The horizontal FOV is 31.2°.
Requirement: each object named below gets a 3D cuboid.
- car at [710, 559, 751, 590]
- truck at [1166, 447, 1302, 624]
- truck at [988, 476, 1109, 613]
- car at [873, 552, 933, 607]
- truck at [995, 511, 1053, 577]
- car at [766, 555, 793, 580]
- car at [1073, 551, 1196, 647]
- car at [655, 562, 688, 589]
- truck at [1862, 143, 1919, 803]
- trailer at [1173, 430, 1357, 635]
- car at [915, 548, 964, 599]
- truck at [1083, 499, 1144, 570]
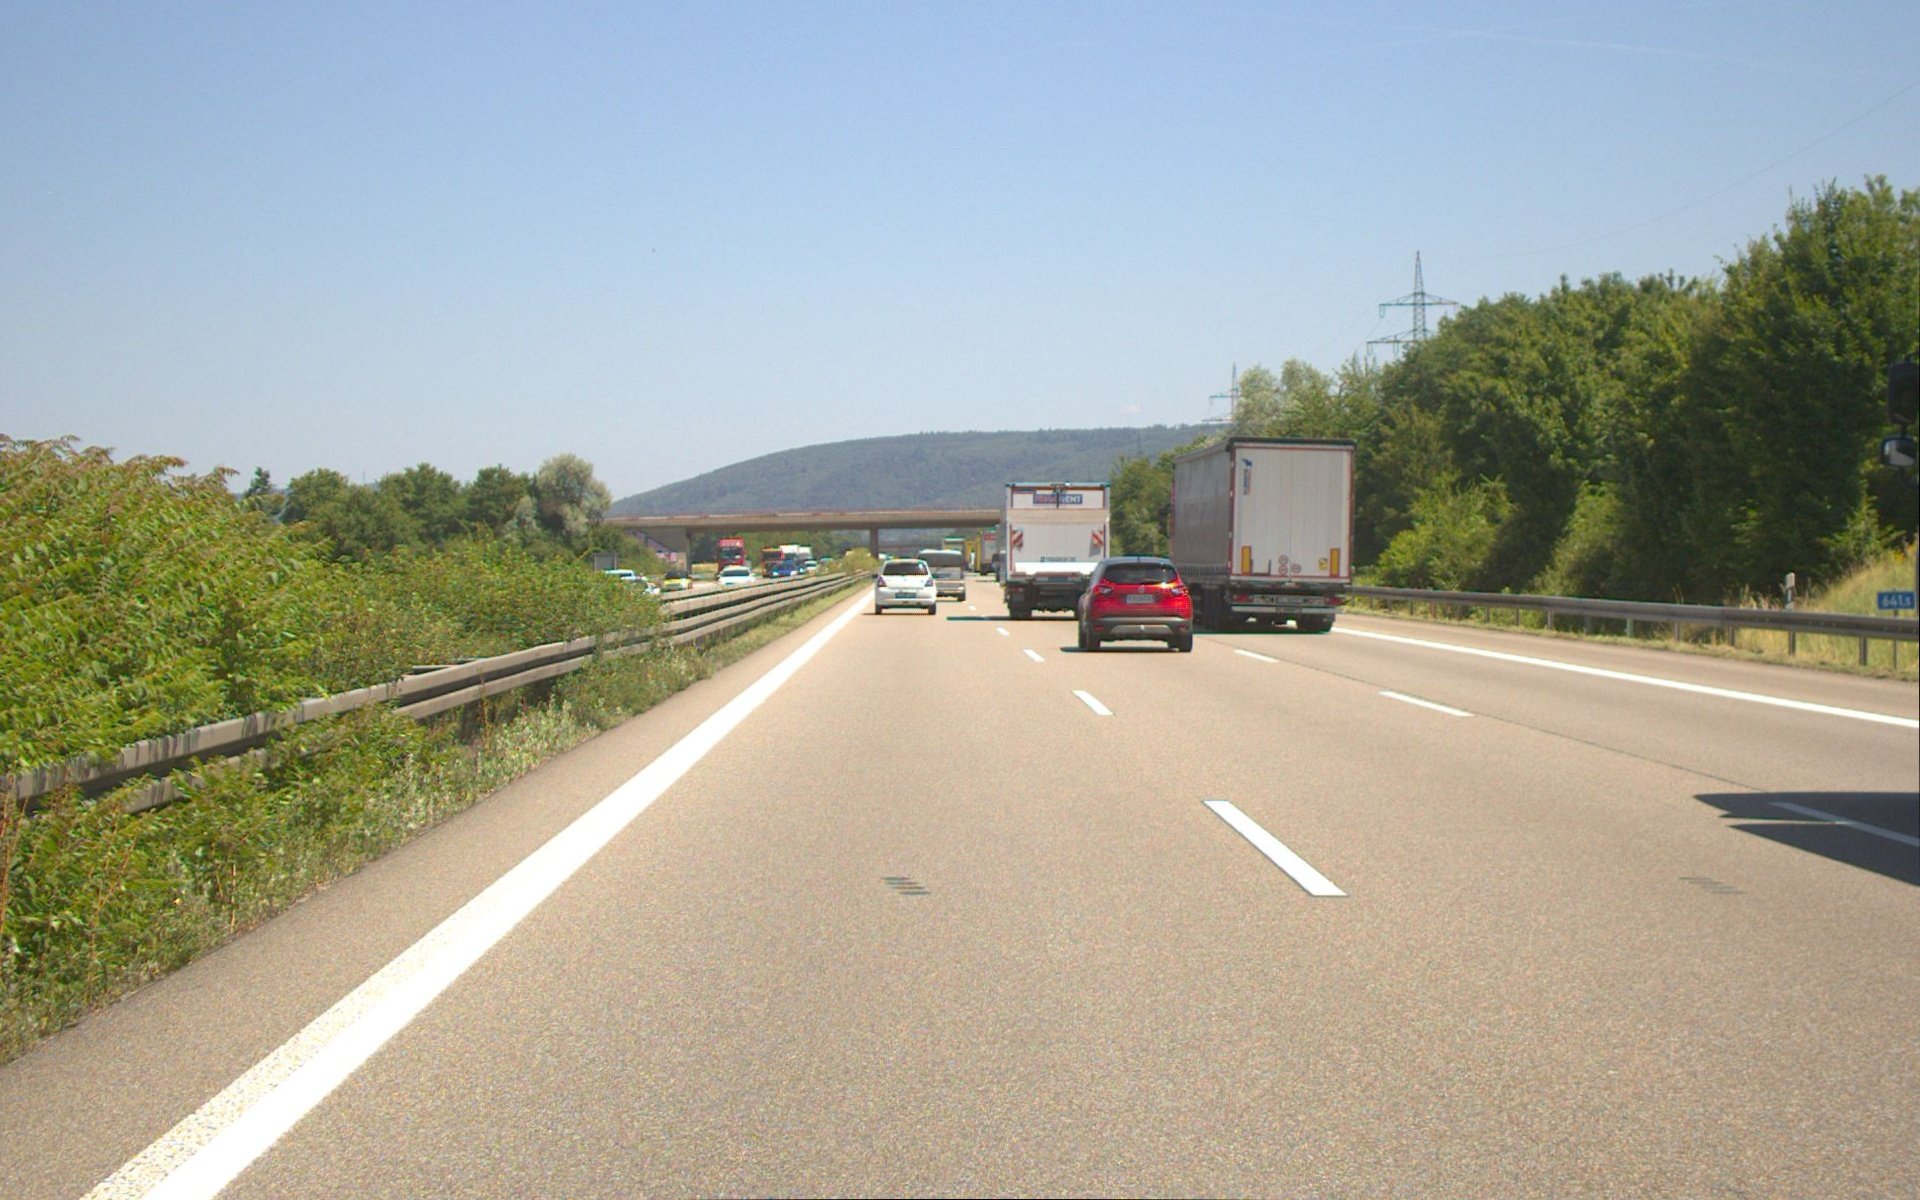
[{"bbox_3d":[-11.614,-1.308,174.243,1.795,1.487,4.238,-2,1,-1],"label":"car"},{"bbox_3d":[6.622,-1.555,83.786,2.795,4.149,5.723,-1,1,0],"label":"truck"},{"bbox_3d":[2.216,-1.421,89.134,2.782,3.361,8.128,0,1,-1],"label":"truck"},{"bbox_3d":[-1.559,-0.581,95.134,1.607,1.462,4.000,0,1,-1],"label":"car"},{"bbox_3d":[4.437,-3.913,241.638,3.520,4.401,14.592,-1,1,-1],"label":"truck"},{"bbox_3d":[-13.065,-2.383,249.148,1.767,1.744,3.986,-2,1,-1],"label":"car"},{"bbox_3d":[2.889,-0.044,57.663,1.803,1.540,4.000,0,1,-1],"label":"car"},{"bbox_3d":[-16.456,-1.407,196.089,1.582,1.423,3.477,-2,1,-1],"label":"car"},{"bbox_3d":[7.363,-0.764,19.589,2.736,4.105,6.125,0,1,-1],"label":"truck"},{"bbox_3d":[6.640,-1.460,76.858,2.789,4.149,13.575,-1,1,0],"label":"trailer"},{"bbox_3d":[-0.763,-0.982,126.177,1.761,1.844,4.000,0,1,-1],"label":"car"},{"bbox_3d":[7.195,-3.092,162.514,2.221,3.198,10.385,-1,1,-1],"label":"truck"}]
